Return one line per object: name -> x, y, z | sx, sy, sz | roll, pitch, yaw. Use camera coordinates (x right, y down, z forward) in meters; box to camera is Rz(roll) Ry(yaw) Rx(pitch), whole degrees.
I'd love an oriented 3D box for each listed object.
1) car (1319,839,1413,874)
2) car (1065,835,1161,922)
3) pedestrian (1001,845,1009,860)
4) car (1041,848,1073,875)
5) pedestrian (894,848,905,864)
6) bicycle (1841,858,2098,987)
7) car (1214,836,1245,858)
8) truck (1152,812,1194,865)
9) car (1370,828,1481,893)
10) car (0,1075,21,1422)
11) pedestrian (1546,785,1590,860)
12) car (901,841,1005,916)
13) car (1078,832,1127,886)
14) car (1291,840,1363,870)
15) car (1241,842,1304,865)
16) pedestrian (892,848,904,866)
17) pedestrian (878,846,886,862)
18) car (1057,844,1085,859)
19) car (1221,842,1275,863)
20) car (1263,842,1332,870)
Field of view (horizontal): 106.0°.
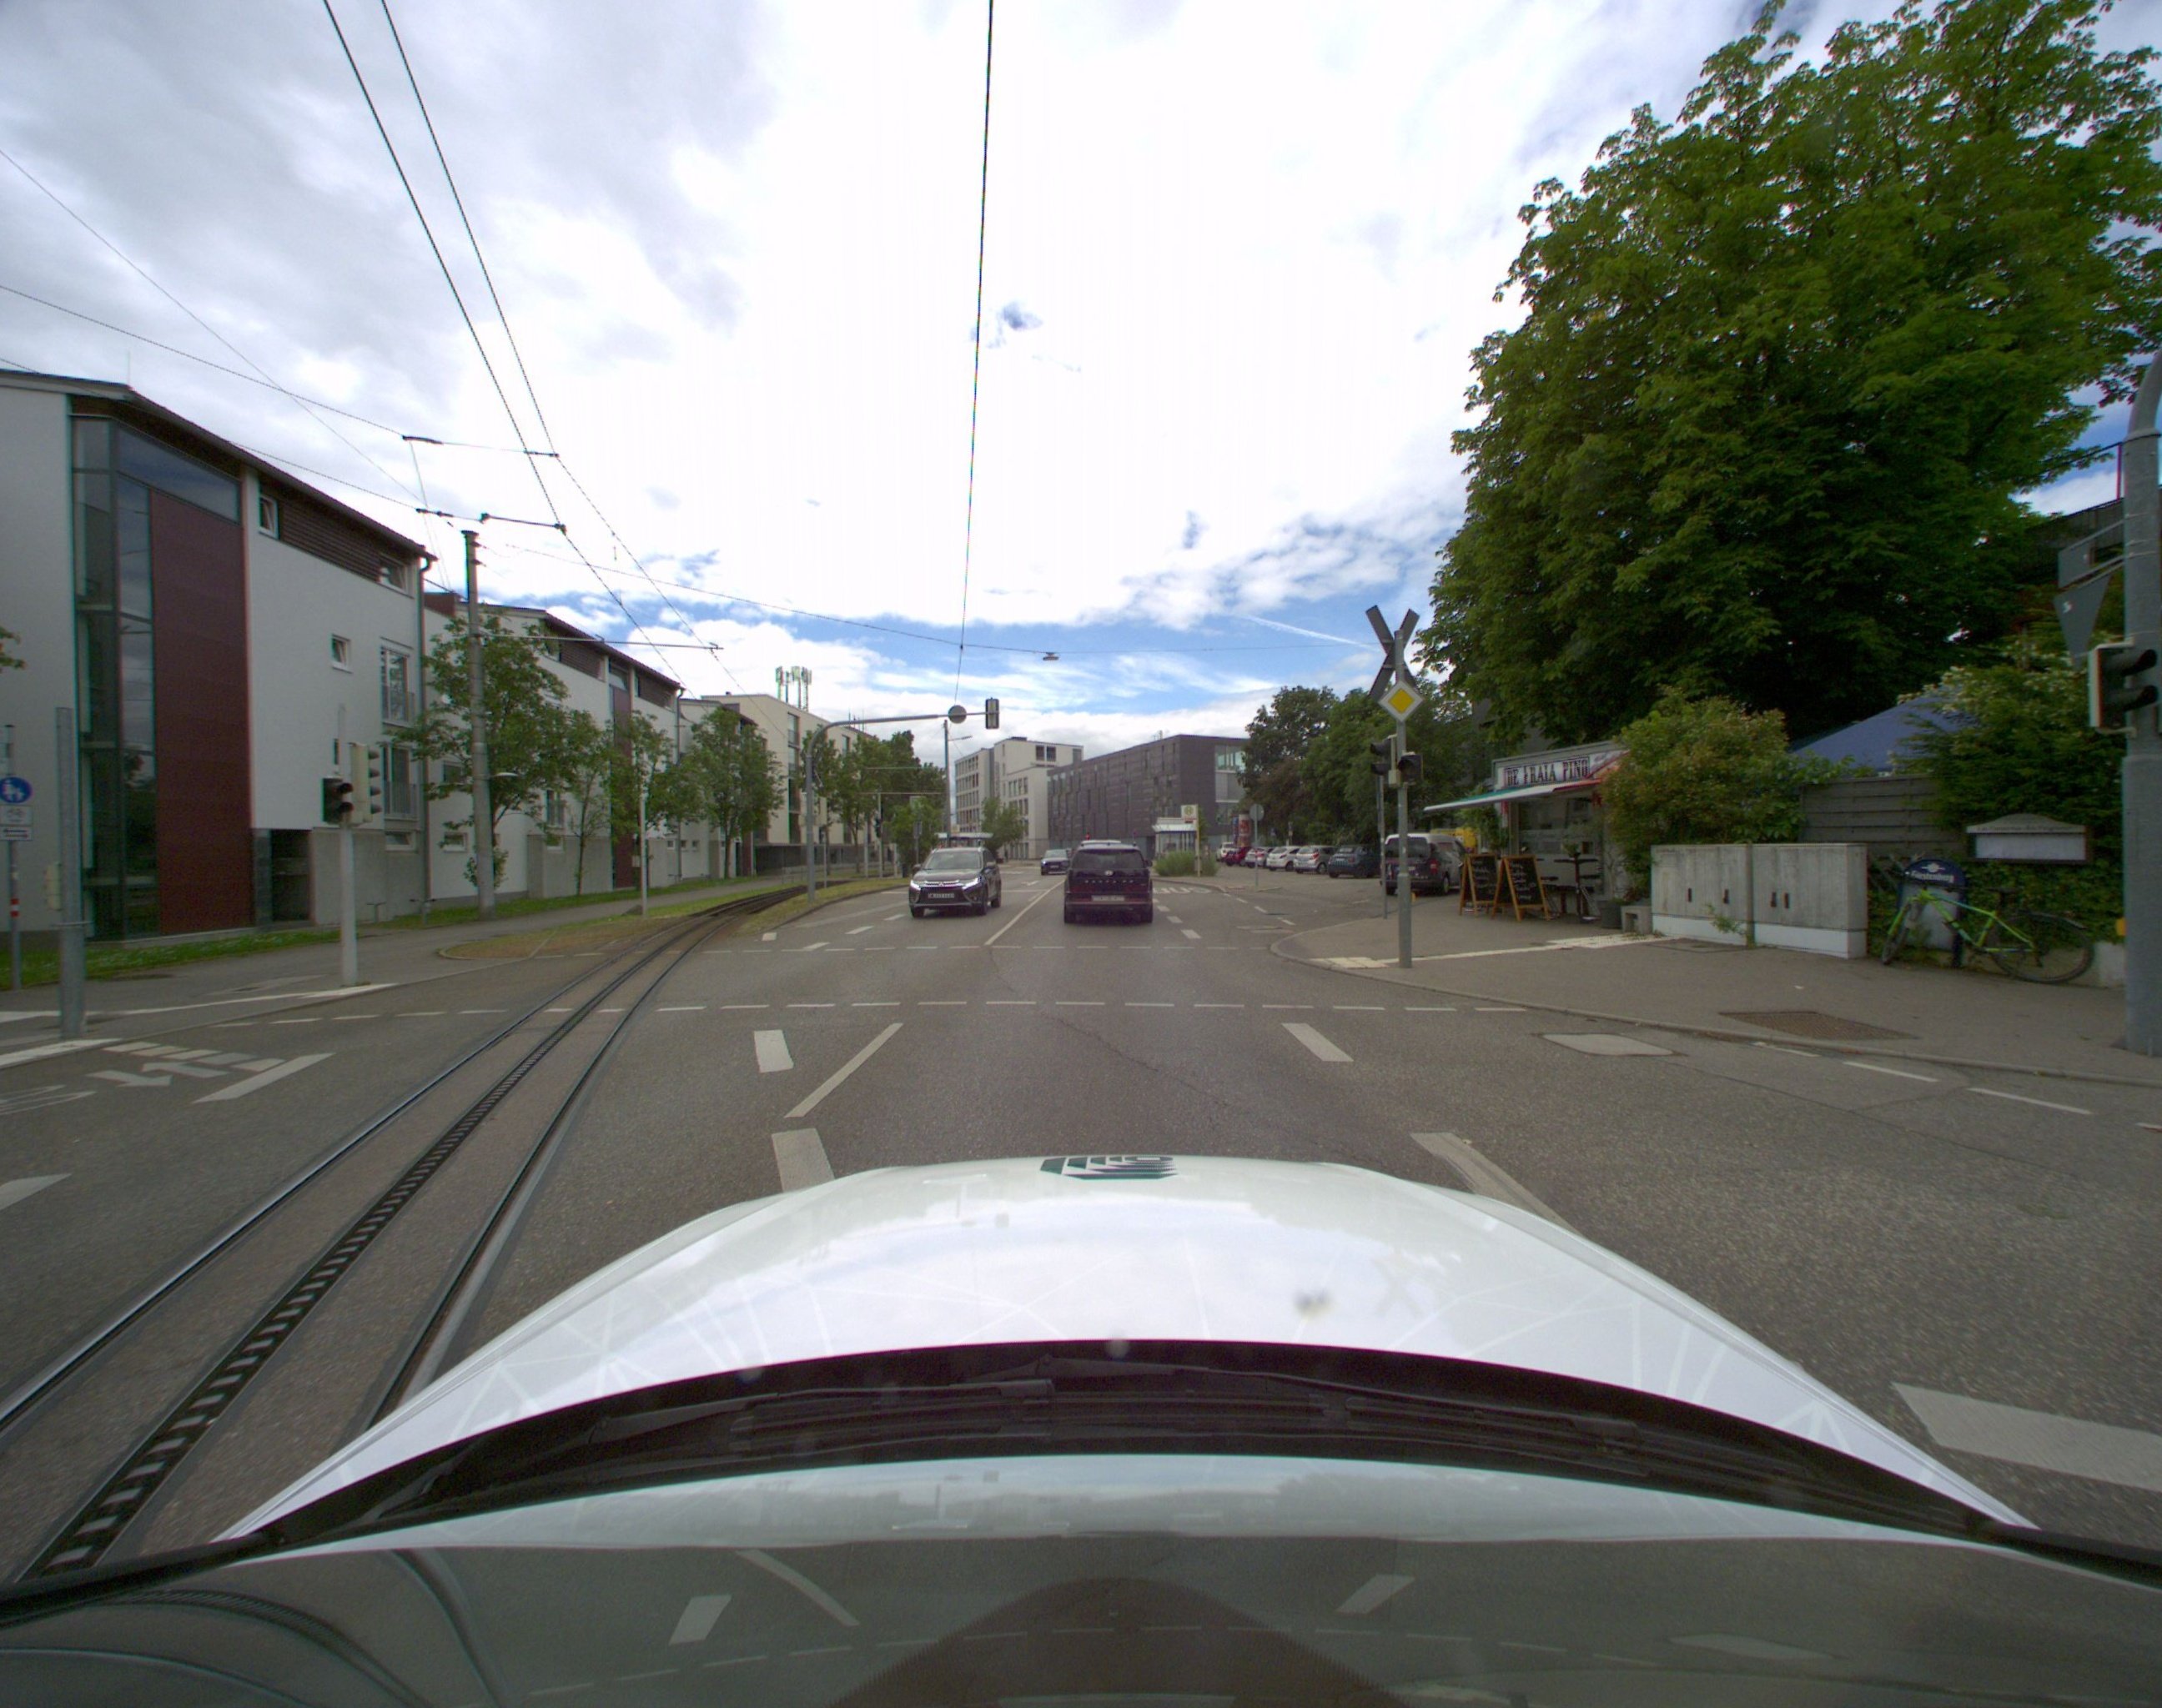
car -> 12.894, 0.095, 36.834 | 4.012, 1.477, 1.862 | -1, 0, -30
car -> 0.637, 0.472, 18.340 | 1.909, 1.725, 4.170 | 0, 1, 0
pedestrian -> -9.709, -0.170, 103.372 | 0.938, 1.800, 0.589 | -2, 0, -10
car -> -1.502, 0.449, 52.329 | 1.733, 1.559, 4.185 | -2, 0, 1
pedestrian -> -19.699, 0.221, 88.344 | 0.916, 1.719, 0.907 | -1, 0, 1
bicycle -> 9.624, 0.681, 8.950 | 0.548, 1.138, 1.872 | -1, 4, -10
car -> 13.195, -0.583, 72.728 | 1.986, 1.838, 4.520 | -3, 0, 2
truck -> 6.617, -1.102, 59.316 | 2.562, 3.525, 7.818 | -1, 1, 4
car -> 10.577, 0.131, 24.795 | 1.827, 1.748, 4.725 | -1, 1, 39
car -> -3.697, 0.795, 0.285 | 1.669, 1.505, 3.732 | -3, 0, 0
pedestrian -> 11.863, -0.762, 19.869 | 0.680, 1.759, 0.679 | -2, 2, 8
car -> -3.131, 0.547, 20.809 | 1.781, 1.661, 4.279 | -2, 0, 2
car -> 0.843, 0.148, 33.497 | 1.849, 2.033, 4.437 | -1, 1, 0
car -> 12.672, 0.014, 41.888 | 3.527, 1.378, 1.533 | -2, 2, -29
car -> 12.462, -0.016, 52.947 | 3.813, 1.474, 1.782 | 1, -1, -28
pedestrian -> -17.986, 0.262, 80.118 | 0.916, 1.719, 0.907 | -1, 0, 1
pedestrian -> -21.235, 0.031, 86.969 | 0.611, 1.694, 0.785 | 0, -1, 1
car -> -1.244, -0.269, 99.301 | 1.855, 1.677, 4.343 | -3, 0, -22
car -> 11.937, -0.086, 58.237 | 3.510, 1.455, 1.666 | 0, 0, -26
car -> 12.481, 0.113, 46.939 | 3.657, 1.435, 1.578 | -3, -1, -25
